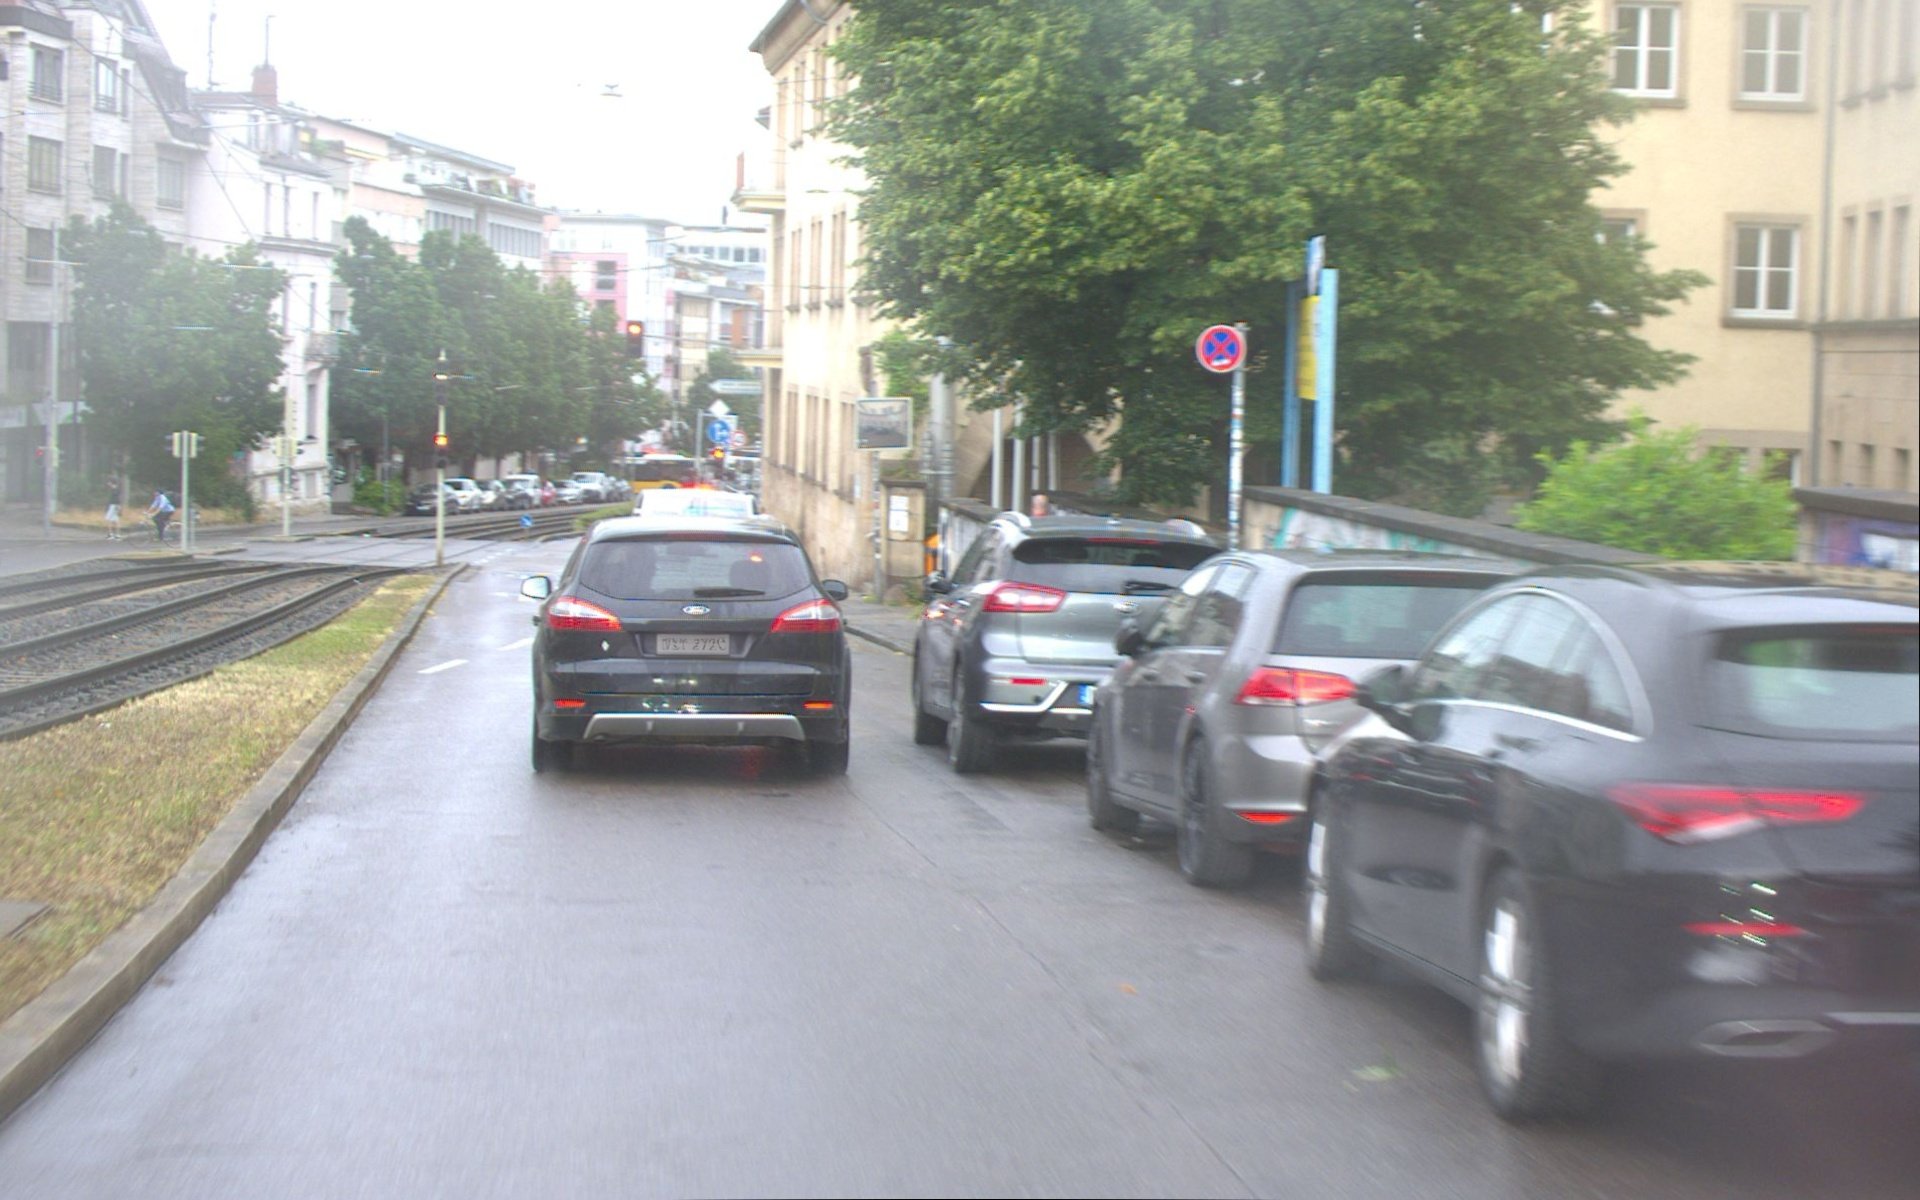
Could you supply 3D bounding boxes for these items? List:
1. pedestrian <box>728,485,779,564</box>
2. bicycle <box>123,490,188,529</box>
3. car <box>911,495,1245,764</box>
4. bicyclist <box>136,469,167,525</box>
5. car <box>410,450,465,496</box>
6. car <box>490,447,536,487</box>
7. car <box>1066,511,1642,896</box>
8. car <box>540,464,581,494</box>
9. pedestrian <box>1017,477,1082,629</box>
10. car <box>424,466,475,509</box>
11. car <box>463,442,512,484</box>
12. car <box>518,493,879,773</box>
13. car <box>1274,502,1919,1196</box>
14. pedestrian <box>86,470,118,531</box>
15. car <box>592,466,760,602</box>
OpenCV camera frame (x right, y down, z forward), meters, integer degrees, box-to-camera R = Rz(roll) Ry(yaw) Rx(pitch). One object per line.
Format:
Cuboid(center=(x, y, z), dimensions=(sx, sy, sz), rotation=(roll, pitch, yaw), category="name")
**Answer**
Cuboid(center=(-4.762, -1.743, 79.077), dimensions=(1.044, 1.789, 0.902), rotation=(1, 2, -9), category="pedestrian")
Cuboid(center=(-23.100, -2.601, 98.729), dimensions=(1.797, 1.060, 0.457), rotation=(1, 2, -43), category="bicycle")
Cuboid(center=(0.644, 0.106, 21.581), dimensions=(1.665, 1.519, 4.110), rotation=(0, 2, -4), category="car")
Cuboid(center=(-23.188, -2.947, 98.620), dimensions=(0.700, 1.568, 0.462), rotation=(1, 2, -42), category="bicyclist")
Cuboid(center=(-23.734, -5.785, 156.324), dimensions=(1.993, 2.006, 4.001), rotation=(1, 2, -2), category="car")
Cuboid(center=(-23.410, -6.960, 180.149), dimensions=(1.993, 2.006, 4.001), rotation=(1, 2, -2), category="car")
Cuboid(center=(1.609, 0.347, 15.479), dimensions=(1.665, 1.471, 4.110), rotation=(0, 2, -7), category="car")
Cuboid(center=(-22.474, -6.801, 193.410), dimensions=(1.993, 1.656, 4.001), rotation=(1, 2, -2), category="car")
Cuboid(center=(1.020, -0.537, 39.326), dimensions=(0.632, 1.715, 0.711), rotation=(1, 1, -6), category="pedestrian")
Cuboid(center=(-24.131, -5.319, 162.680), dimensions=(1.993, 2.006, 4.001), rotation=(0, 2, -2), category="car")
Cuboid(center=(-23.240, -6.714, 169.193), dimensions=(1.993, 2.006, 4.001), rotation=(1, 2, -2), category="car")
Cuboid(center=(-1.670, 0.123, 20.653), dimensions=(1.919, 1.474, 4.001), rotation=(0, 2, -8), category="car")
Cuboid(center=(2.071, 0.467, 9.617), dimensions=(1.665, 1.471, 4.458), rotation=(0, 2, -4), category="car")
Cuboid(center=(-27.100, -3.147, 108.609), dimensions=(0.904, 1.925, 0.826), rotation=(1, 2, -11), category="pedestrian")
Cuboid(center=(-3.821, -0.940, 46.882), dimensions=(2.136, 1.739, 4.219), rotation=(1, 2, -3), category="car")
